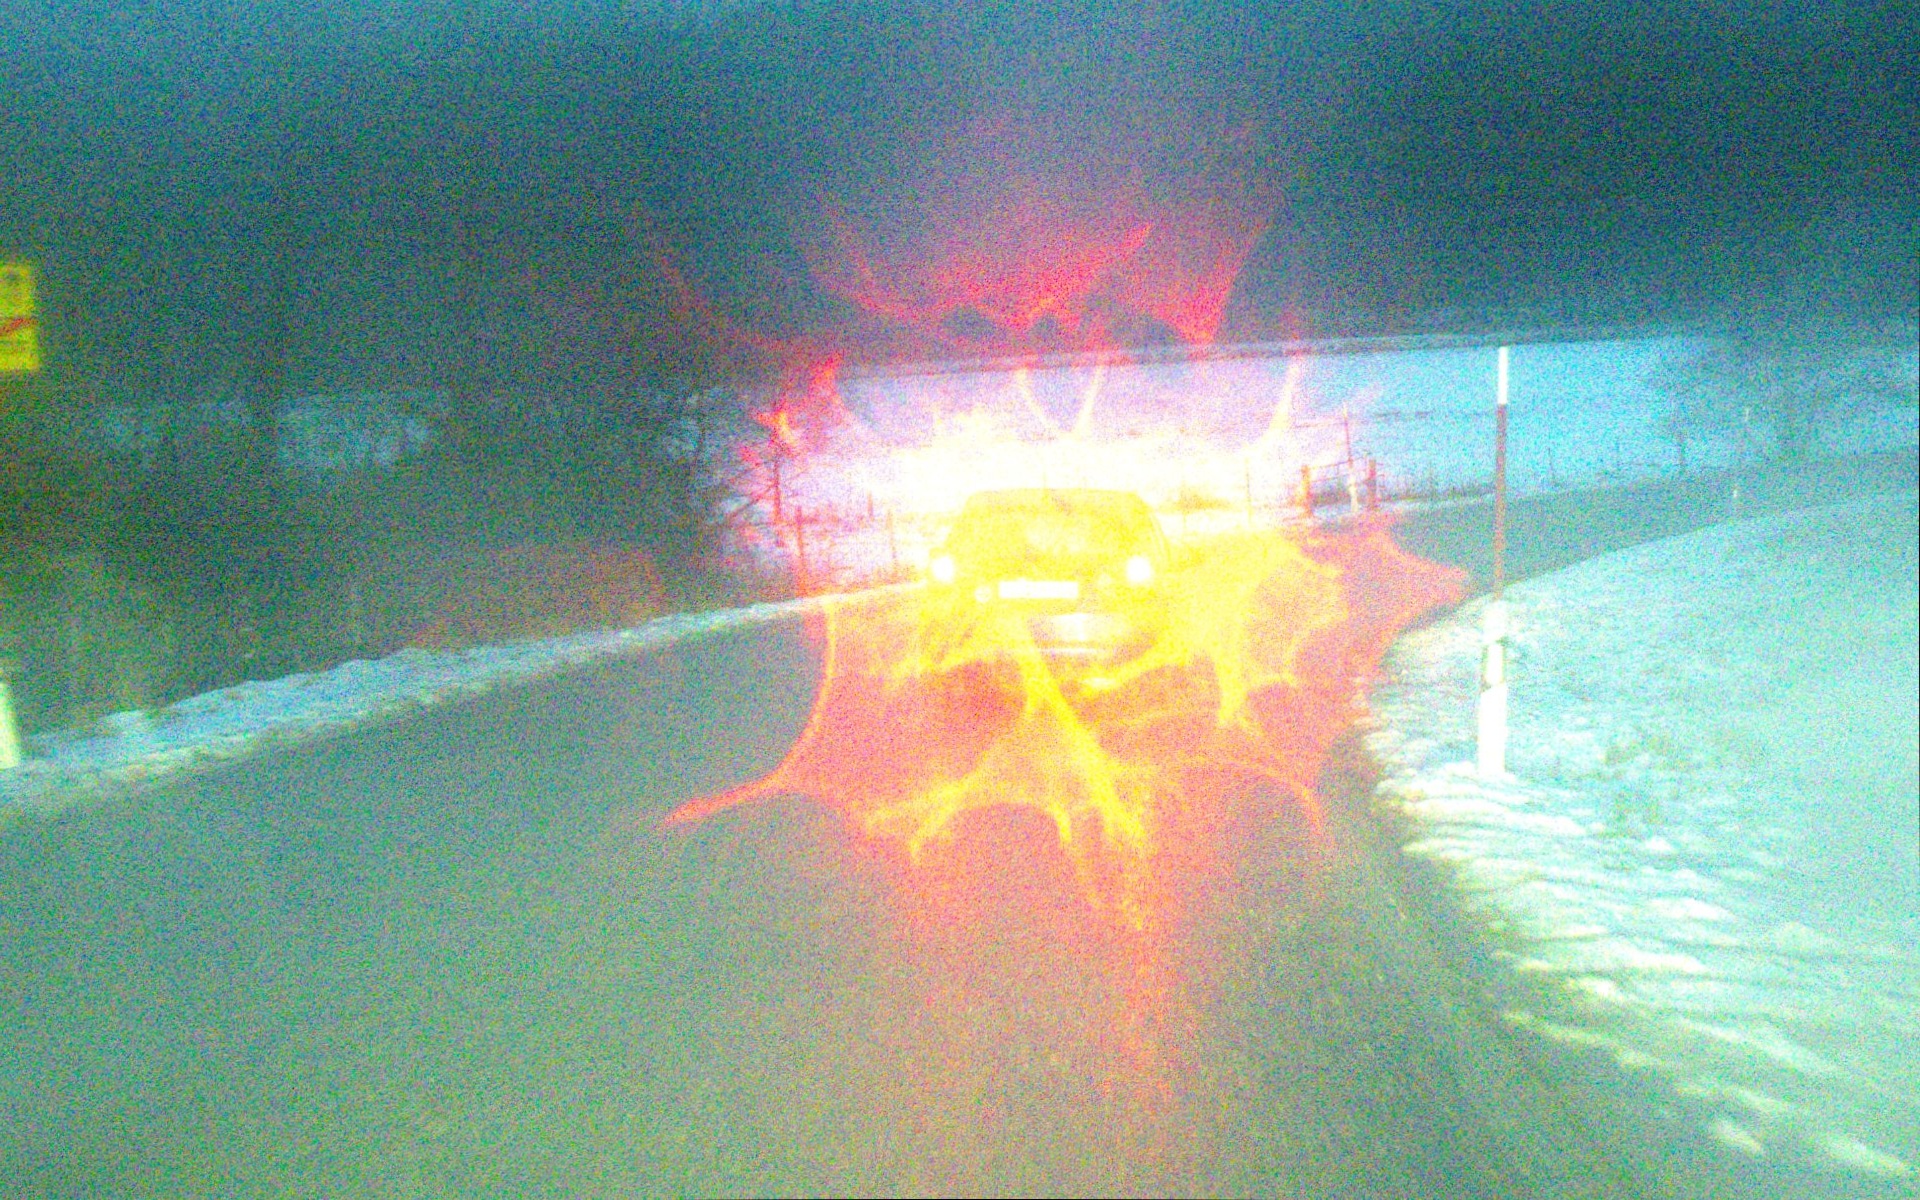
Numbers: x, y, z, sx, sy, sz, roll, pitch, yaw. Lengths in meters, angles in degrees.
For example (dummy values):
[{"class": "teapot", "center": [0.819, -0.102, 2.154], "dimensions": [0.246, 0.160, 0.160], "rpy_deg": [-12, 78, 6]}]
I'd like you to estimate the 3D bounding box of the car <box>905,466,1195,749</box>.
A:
[{"class": "car", "center": [0.555, 0.007, 24.066], "dimensions": [1.822, 1.790, 3.578], "rpy_deg": [-1, 1, -1]}]
